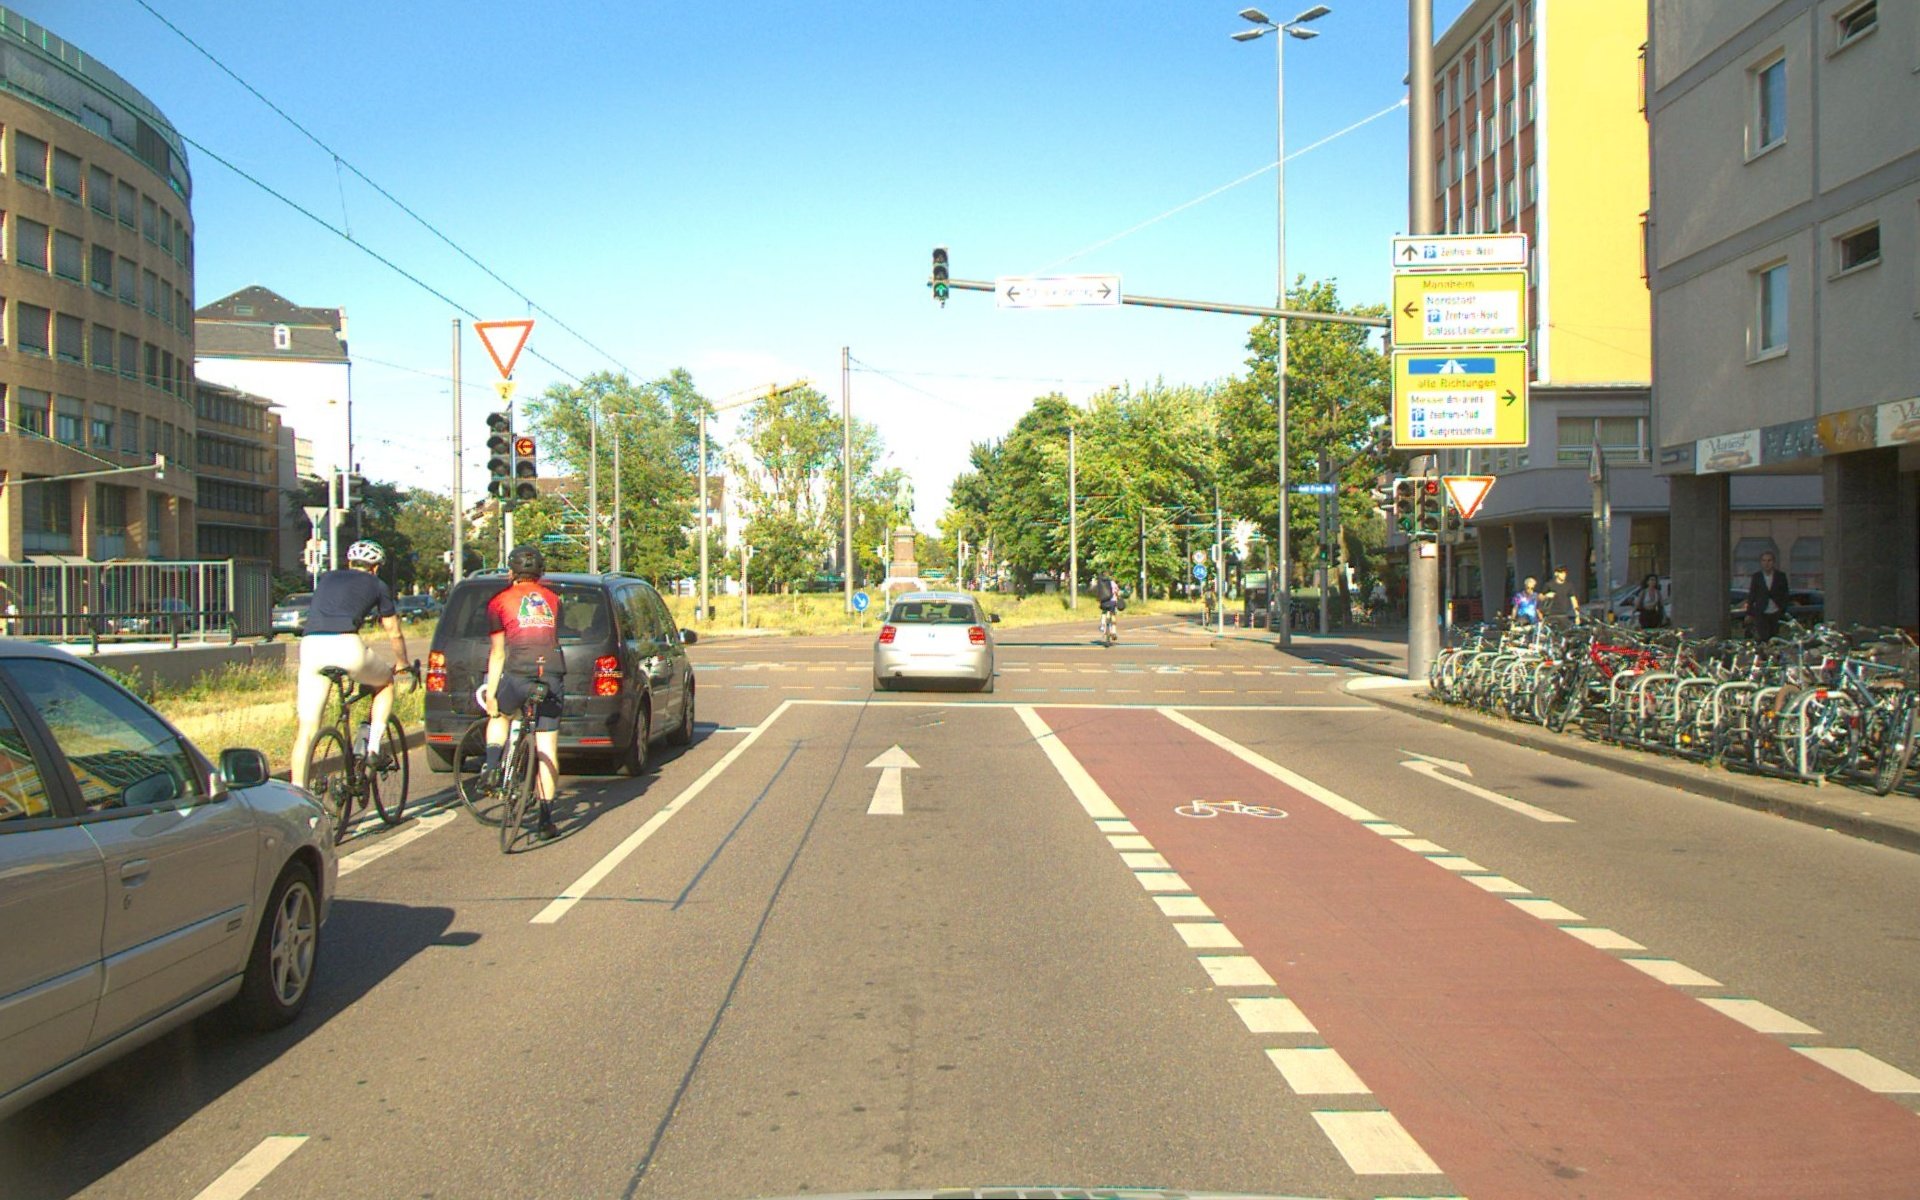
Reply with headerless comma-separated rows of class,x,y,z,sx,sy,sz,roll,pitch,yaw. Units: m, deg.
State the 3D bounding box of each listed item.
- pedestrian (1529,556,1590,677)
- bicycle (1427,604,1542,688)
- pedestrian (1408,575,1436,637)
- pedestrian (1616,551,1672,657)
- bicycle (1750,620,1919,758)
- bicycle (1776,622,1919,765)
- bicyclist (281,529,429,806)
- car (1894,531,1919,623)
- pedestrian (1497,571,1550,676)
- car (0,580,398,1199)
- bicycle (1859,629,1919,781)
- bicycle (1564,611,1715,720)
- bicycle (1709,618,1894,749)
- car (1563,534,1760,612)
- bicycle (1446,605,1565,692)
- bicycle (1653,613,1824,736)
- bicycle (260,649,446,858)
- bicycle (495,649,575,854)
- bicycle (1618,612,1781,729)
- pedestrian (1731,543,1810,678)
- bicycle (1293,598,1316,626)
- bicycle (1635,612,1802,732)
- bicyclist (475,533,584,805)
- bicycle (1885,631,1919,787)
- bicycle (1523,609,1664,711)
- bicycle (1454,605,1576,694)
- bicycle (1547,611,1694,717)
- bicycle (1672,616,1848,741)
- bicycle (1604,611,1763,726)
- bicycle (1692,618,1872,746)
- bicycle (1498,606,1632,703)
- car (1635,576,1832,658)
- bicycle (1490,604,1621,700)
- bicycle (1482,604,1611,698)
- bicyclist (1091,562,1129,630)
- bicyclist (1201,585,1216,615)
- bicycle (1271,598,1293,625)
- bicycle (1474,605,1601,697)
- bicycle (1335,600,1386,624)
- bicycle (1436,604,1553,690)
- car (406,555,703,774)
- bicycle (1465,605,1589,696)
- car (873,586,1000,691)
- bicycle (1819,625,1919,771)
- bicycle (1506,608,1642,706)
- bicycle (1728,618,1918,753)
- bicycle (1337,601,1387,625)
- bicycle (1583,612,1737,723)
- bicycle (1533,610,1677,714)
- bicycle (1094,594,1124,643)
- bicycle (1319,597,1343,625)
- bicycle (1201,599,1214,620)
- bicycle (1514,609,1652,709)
pedestrian,10.377,0.286,28.657,0.774,2.049,0.870,1,0,6
bicycle,7.010,0.612,22.116,1.435,1.086,0.257,-1,0,1
pedestrian,14.899,0.196,53.330,0.693,1.953,0.704,1,0,3
pedestrian,13.468,0.071,32.579,0.858,2.049,0.913,1,0,13
bicycle,7.280,0.726,13.578,1.435,1.086,0.257,-1,0,1
bicycle,7.264,0.733,13.107,1.435,1.086,0.257,-1,0,1
bicyclist,-3.631,0.391,9.964,0.604,1.599,0.686,1,0,0
car,25.879,-0.523,40.724,4.498,2.251,2.188,1,0,0
pedestrian,10.354,0.427,30.428,0.808,1.888,0.917,1,0,13
car,-2.968,0.665,4.413,1.611,1.446,3.999,1,0,-1
bicycle,7.379,0.749,12.093,1.435,1.086,0.257,-1,0,1
bicycle,7.072,0.677,17.233,1.435,1.086,0.257,-1,0,1
bicycle,7.268,0.716,14.295,1.435,1.086,0.257,-1,0,1
car,19.830,-0.745,46.915,4.632,2.049,2.259,1,0,0
bicycle,7.061,0.627,21.427,1.435,1.086,0.257,-1,0,1
bicycle,7.209,0.686,15.341,1.435,1.086,0.257,-1,0,1
bicycle,-3.618,0.867,10.007,0.366,1.075,1.955,1,0,0
bicycle,-2.575,0.874,10.105,0.332,1.075,1.774,1,0,-11
bicycle,7.170,0.676,16.050,1.435,1.086,0.257,-1,0,1
pedestrian,12.590,0.161,25.716,0.825,2.049,0.890,1,0,8
bicycle,13.214,0.461,63.549,0.408,1.026,1.944,1,0,-2
bicycle,7.184,0.677,15.683,1.435,1.086,0.257,-1,0,1
bicyclist,-2.622,0.402,10.121,0.606,1.599,0.684,0,0,-13
bicycle,7.373,0.750,11.745,1.435,1.086,0.257,-1,0,1
bicycle,7.018,0.663,18.334,1.435,1.086,0.257,-1,0,1
bicycle,7.046,0.620,21.018,1.435,1.086,0.257,-1,0,1
bicycle,7.050,0.682,17.668,1.435,1.086,0.257,-1,0,1
bicycle,7.245,0.703,14.996,1.435,1.086,0.257,-1,0,1
bicycle,7.160,0.675,16.393,1.435,1.086,0.257,-1,0,1
bicycle,7.258,0.719,14.617,1.435,1.086,0.257,-1,0,1
bicycle,7.052,0.637,19.298,1.435,1.086,0.257,-1,0,1
car,20.411,0.436,43.776,4.272,2.049,1.972,1,0,0
bicycle,7.061,0.613,19.618,1.435,1.086,0.257,-1,0,1
bicycle,7.063,0.607,19.927,1.435,1.086,0.257,-1,0,1
bicyclist,3.502,-0.093,38.704,0.769,1.558,0.895,1,0,-1
bicyclist,11.682,-0.015,77.801,0.604,1.404,0.686,1,0,0
bicycle,12.448,0.430,63.954,0.408,1.026,1.944,1,0,-2
bicycle,7.064,0.620,20.253,1.435,1.086,0.257,-1,0,1
bicycle,18.906,0.581,78.143,2.270,1.087,0.556,1,0,22
bicycle,7.023,0.618,21.741,1.435,1.086,0.257,-1,0,1
car,-3.383,0.468,14.541,1.669,1.650,3.999,0,0,-1
bicycle,7.072,0.626,20.643,1.435,1.086,0.257,-1,0,1
car,-0.330,0.518,25.028,1.761,1.439,4.000,0,0,0
bicycle,7.382,0.737,12.674,1.435,1.086,0.257,-1,0,1
bicycle,7.038,0.649,18.982,1.435,1.086,0.257,-1,0,1
bicycle,7.274,0.715,13.950,1.435,1.086,0.257,-1,0,1
bicycle,19.143,0.595,78.734,2.270,1.087,0.556,1,0,22
bicycle,7.111,0.684,16.819,1.435,1.086,0.257,-1,0,1
bicycle,7.020,0.667,18.020,1.435,1.086,0.257,-1,0,1
bicycle,3.479,0.410,38.736,0.489,1.107,1.997,1,0,-1
bicycle,14.185,0.406,63.215,0.408,1.026,1.944,1,0,-2
bicycle,11.643,0.456,77.780,0.344,0.975,1.573,1,0,0
bicycle,7.014,0.659,18.638,1.435,1.086,0.257,-1,0,1
